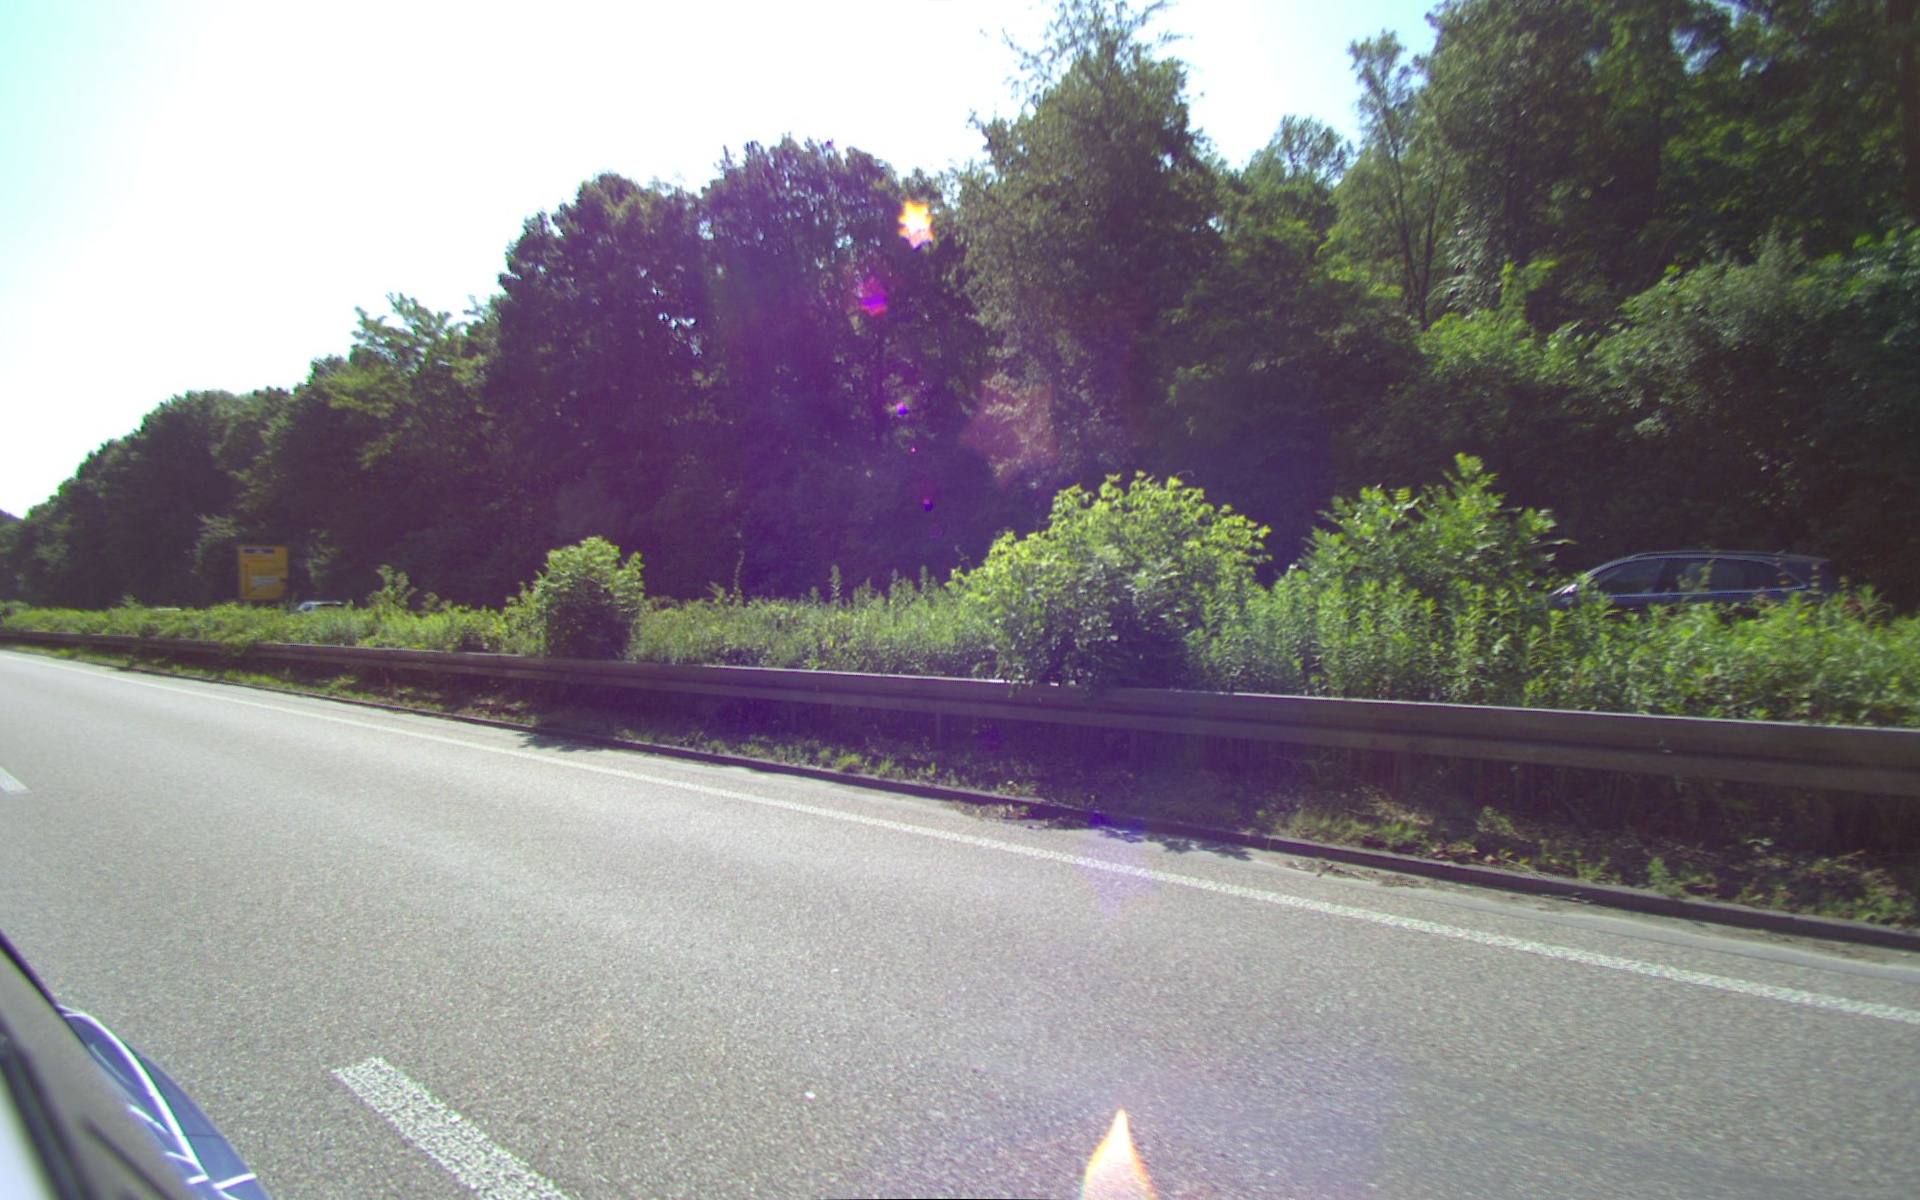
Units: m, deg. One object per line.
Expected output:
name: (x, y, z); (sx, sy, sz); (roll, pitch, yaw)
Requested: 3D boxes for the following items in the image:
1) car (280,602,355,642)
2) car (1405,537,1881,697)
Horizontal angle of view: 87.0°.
car: (-28.505, 0.997, 44.864); (3.997, 1.674, 1.675); (-2, -2, 40)
car: (8.345, 0.255, 12.764); (4.710, 1.674, 1.675); (-2, -2, 40)
